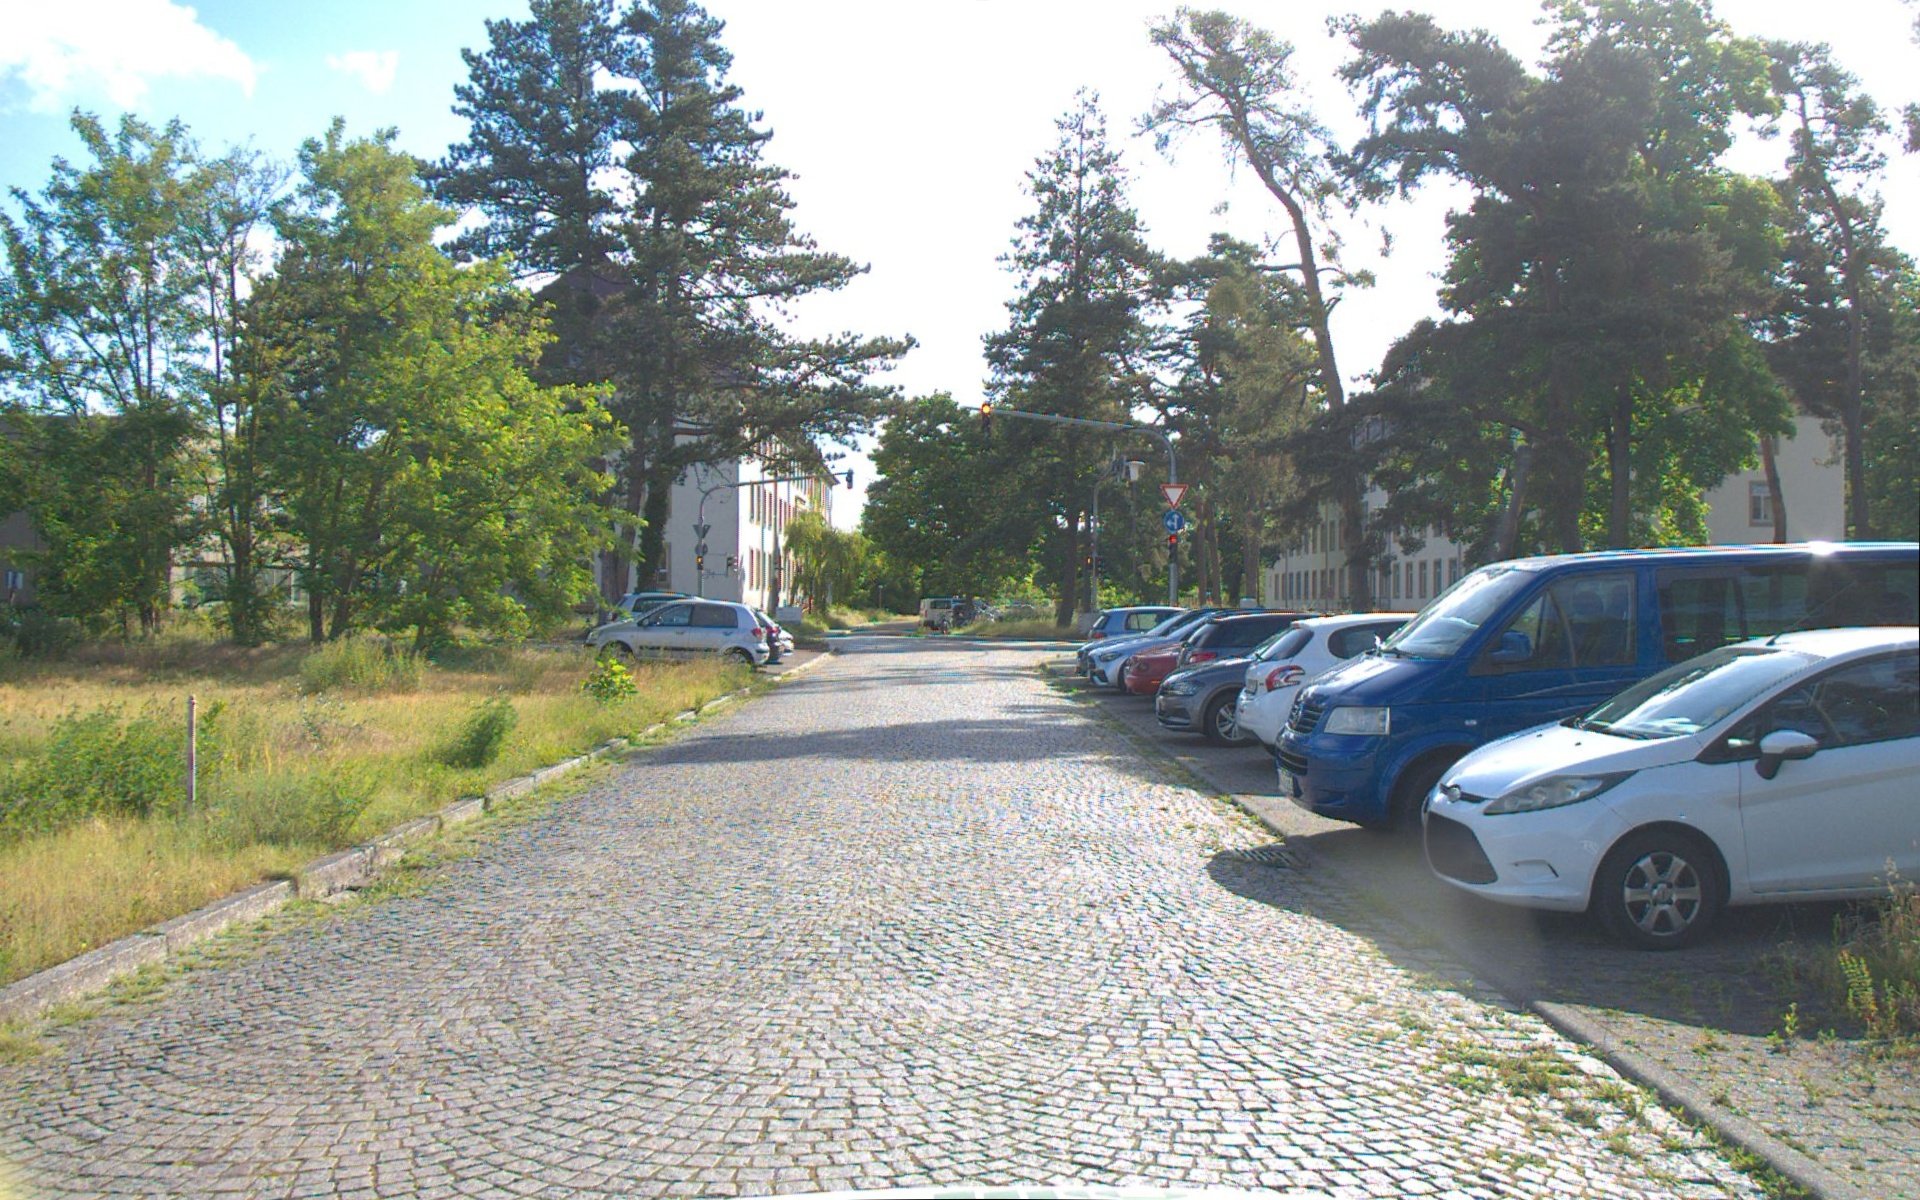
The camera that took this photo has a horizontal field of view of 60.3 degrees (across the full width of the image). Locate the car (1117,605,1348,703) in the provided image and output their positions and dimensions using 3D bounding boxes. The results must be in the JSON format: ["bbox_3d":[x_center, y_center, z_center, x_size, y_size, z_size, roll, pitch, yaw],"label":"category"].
[{"bbox_3d":[4.457,0.869,27.387,3.530,1.556,1.645,0,0,-2],"label":"car"}]

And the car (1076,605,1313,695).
[{"bbox_3d":[4.144,0.872,29.564,3.955,1.556,1.644,0,0,-5],"label":"car"}]

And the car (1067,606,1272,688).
[{"bbox_3d":[4.054,0.901,32.334,3.758,1.556,1.645,0,0,-2],"label":"car"}]

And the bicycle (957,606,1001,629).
[{"bbox_3d":[0.964,0.897,85.236,2.134,1.119,0.805,1,0,-11],"label":"bicycle"}]

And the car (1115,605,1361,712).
[{"bbox_3d":[4.152,0.861,25.025,3.408,1.556,1.645,0,0,-2],"label":"car"}]

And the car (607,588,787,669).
[{"bbox_3d":[-6.205,0.670,39.422,3.907,1.629,1.999,4,0,-1],"label":"car"}]

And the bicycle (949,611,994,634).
[{"bbox_3d":[0.575,1.127,83.909,2.134,1.119,0.805,1,0,-11],"label":"bicycle"}]

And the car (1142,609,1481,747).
[{"bbox_3d":[4.047,0.881,19.413,3.601,1.493,1.645,-1,0,-2],"label":"car"}]

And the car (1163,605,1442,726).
[{"bbox_3d":[4.564,0.860,22.340,3.408,1.556,1.645,0,0,-2],"label":"car"}]

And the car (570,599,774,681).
[{"bbox_3d":[-5.856,0.806,34.038,3.908,1.628,1.999,0,0,-4],"label":"car"}]

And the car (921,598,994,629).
[{"bbox_3d":[-0.157,0.817,101.371,4.390,1.758,1.999,1,0,-2],"label":"car"}]

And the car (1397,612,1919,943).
[{"bbox_3d":[4.347,0.833,8.674,3.645,1.514,1.644,0,0,-3],"label":"car"}]

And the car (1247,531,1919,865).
[{"bbox_3d":[4.475,0.613,11.356,4.584,2.049,2.082,0,0,-4],"label":"car"}]

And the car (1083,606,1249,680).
[{"bbox_3d":[4.314,0.885,34.979,3.276,1.509,1.645,0,0,-2],"label":"car"}]

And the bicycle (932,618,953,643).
[{"bbox_3d":[-0.852,1.480,80.422,0.789,1.190,2.177,-1,0,-7],"label":"bicycle"}]

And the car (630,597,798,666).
[{"bbox_3d":[-6.171,0.780,41.823,3.907,1.478,1.999,3,0,-1],"label":"car"}]

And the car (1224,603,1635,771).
[{"bbox_3d":[4.595,0.829,16.534,3.618,1.491,1.645,-2,0,0],"label":"car"}]
